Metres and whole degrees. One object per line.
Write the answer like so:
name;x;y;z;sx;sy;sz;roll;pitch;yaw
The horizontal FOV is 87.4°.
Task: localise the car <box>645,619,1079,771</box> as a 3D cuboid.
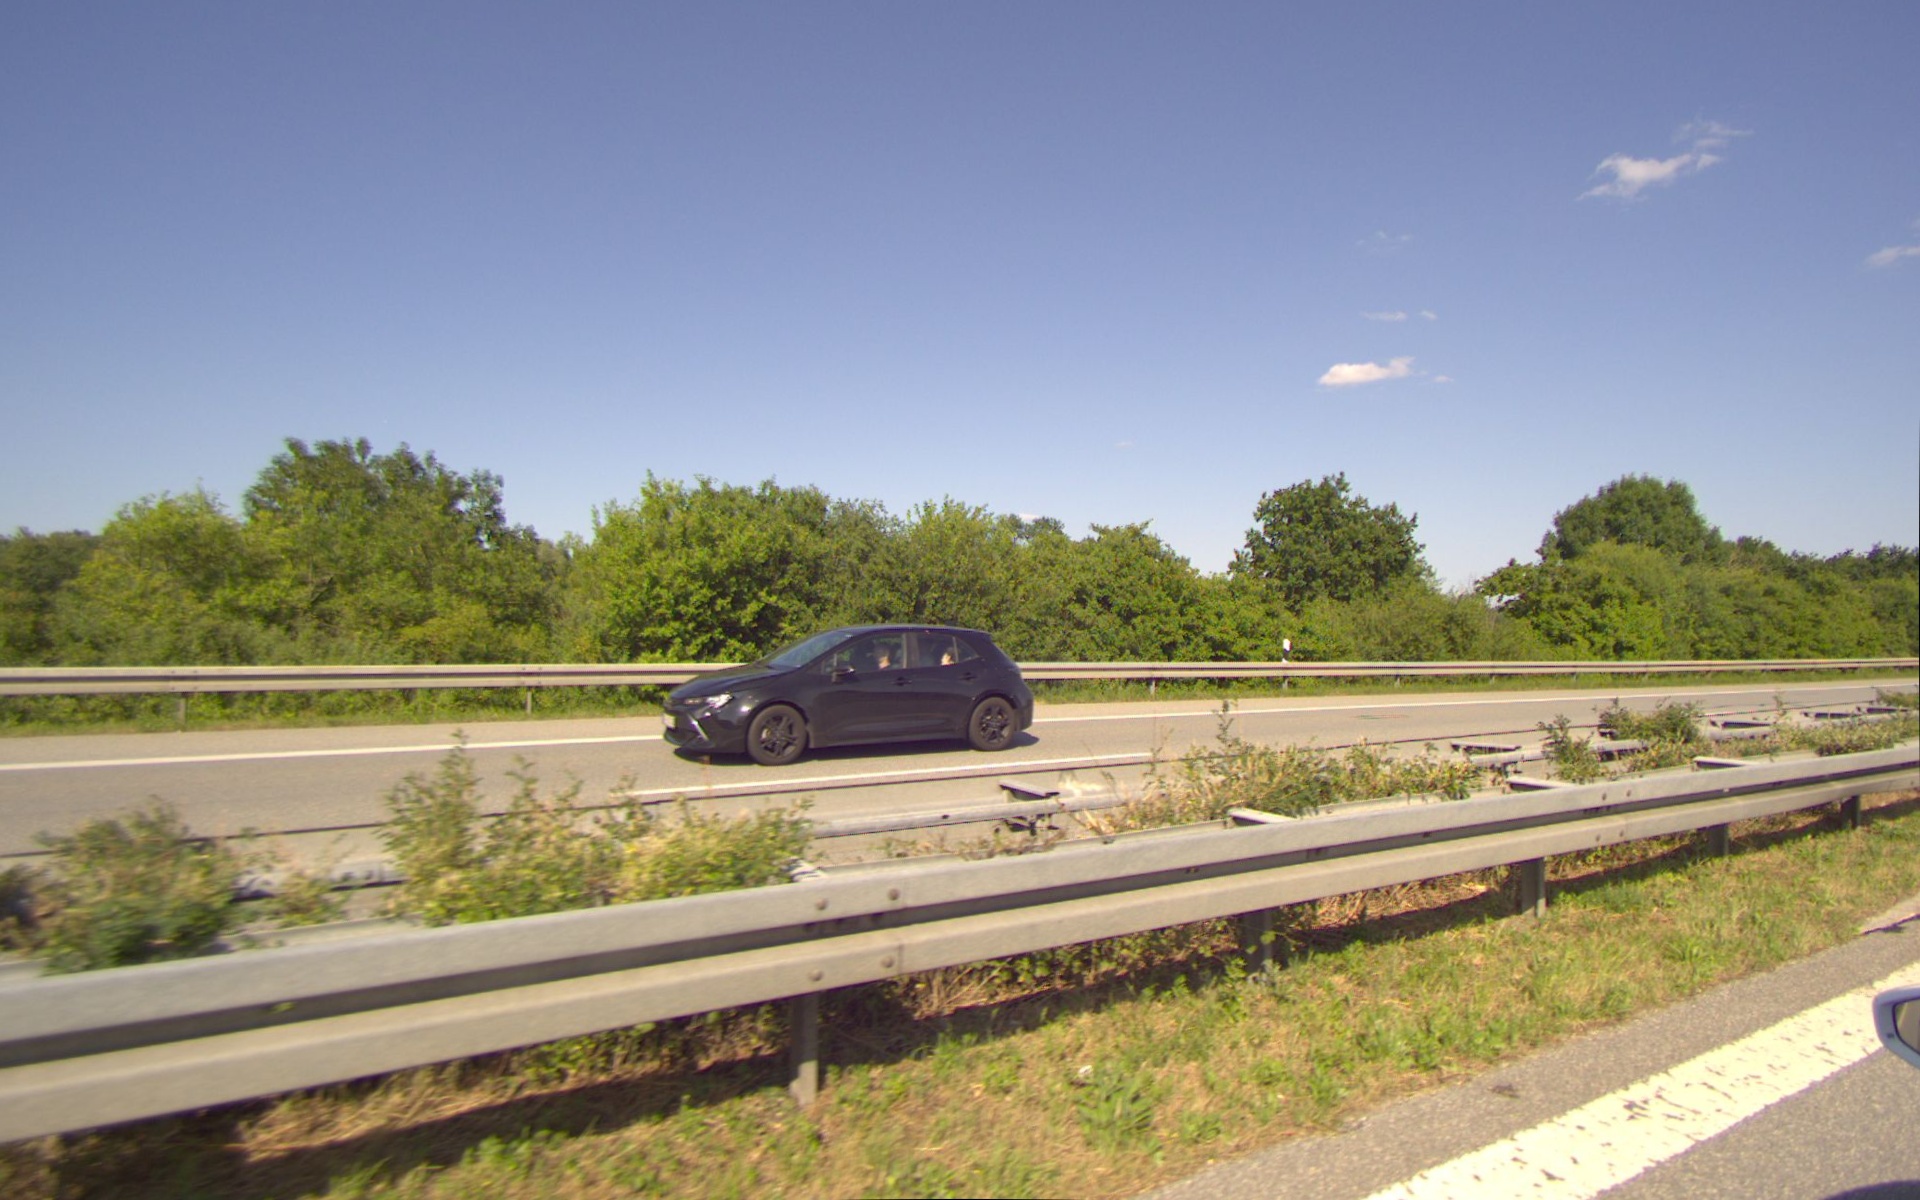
car;-1.038;0.966;11.570;4.710;1.464;1.731;1;-1;-30
